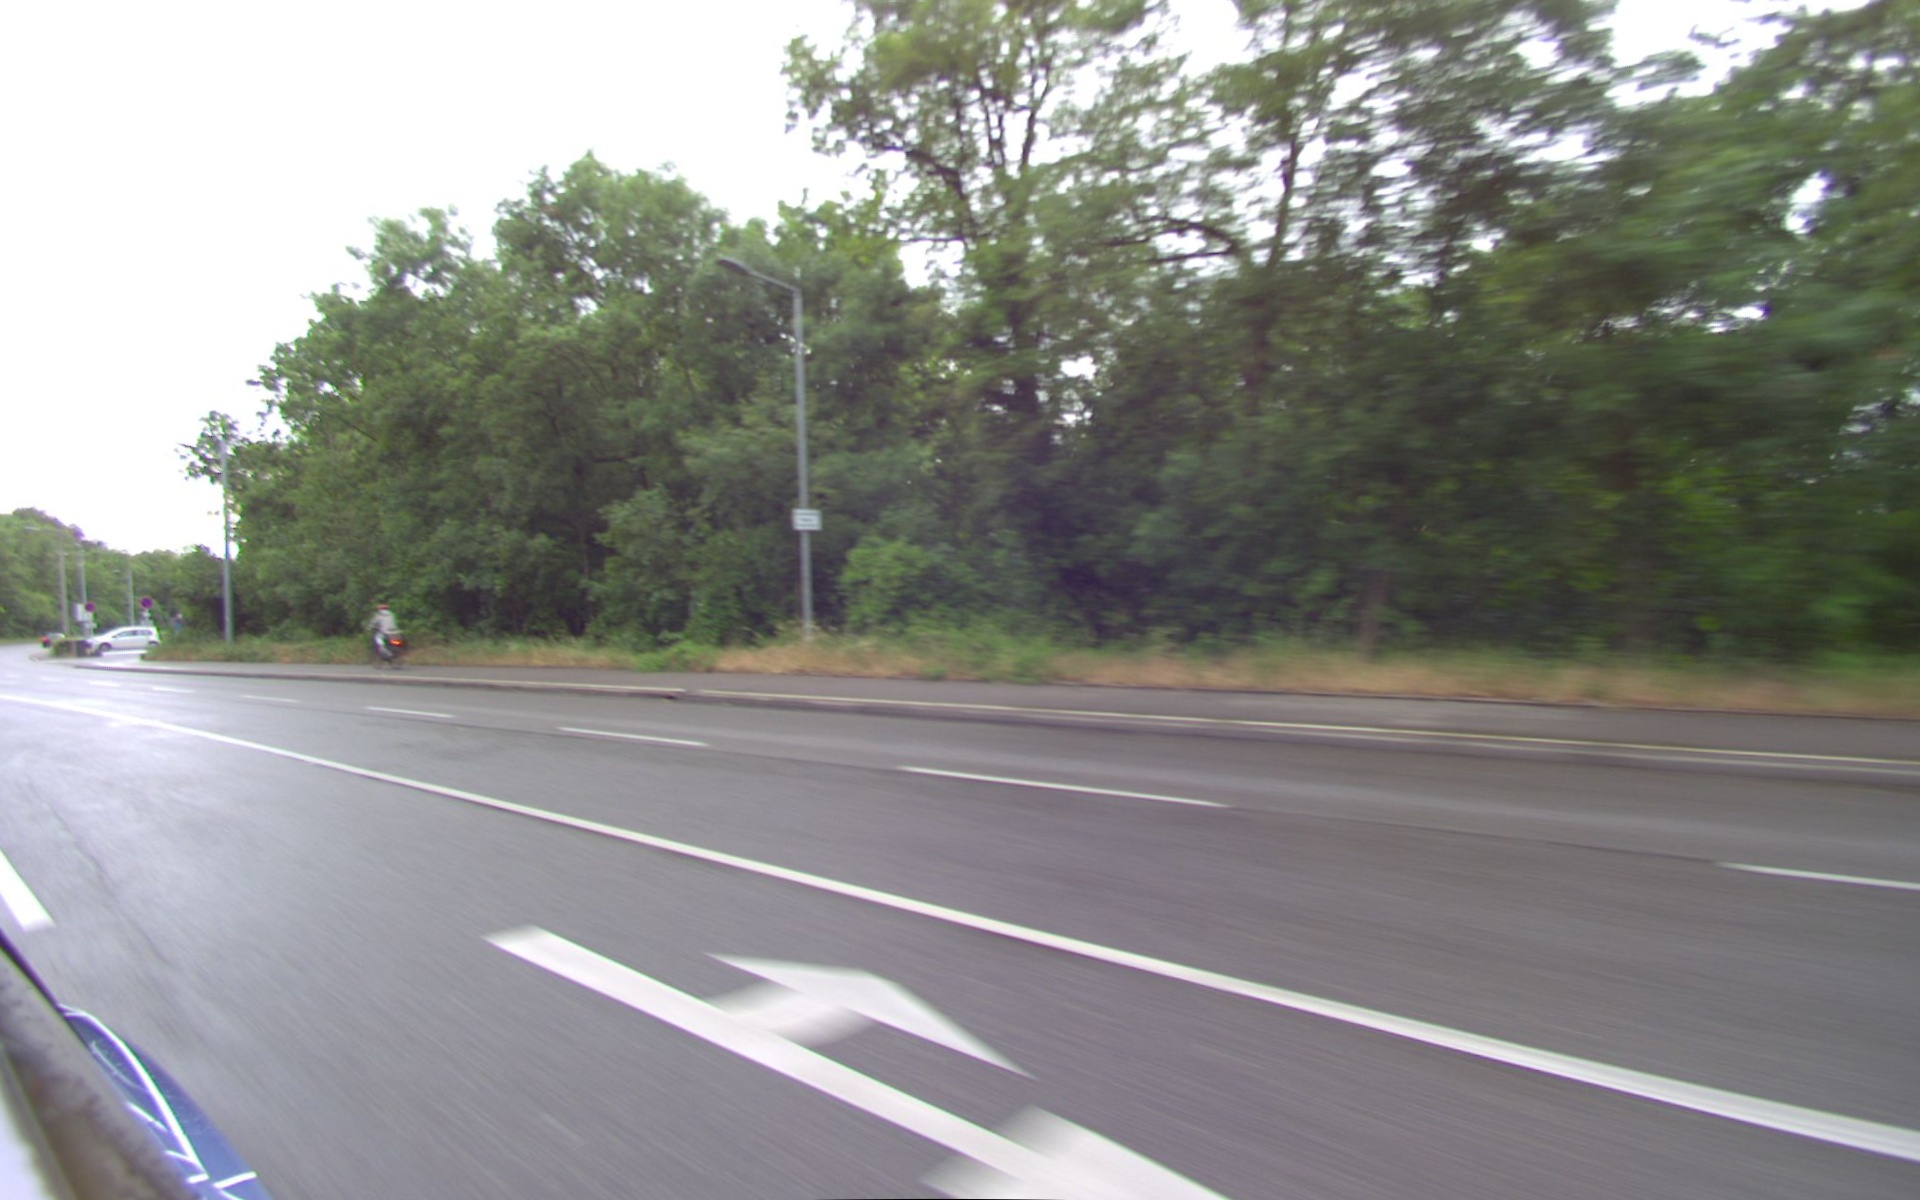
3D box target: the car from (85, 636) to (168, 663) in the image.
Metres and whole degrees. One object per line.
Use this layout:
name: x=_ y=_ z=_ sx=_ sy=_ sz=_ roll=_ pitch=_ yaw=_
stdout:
car: x=-57.155 y=3.357 z=69.430 sx=4.317 sy=1.613 sz=1.758 roll=-2 pitch=0 yaw=-42

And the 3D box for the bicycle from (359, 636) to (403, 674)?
bicycle: x=-16.112 y=1.531 z=28.135 sx=2.017 sy=1.011 sz=0.447 roll=-3 pitch=0 yaw=42

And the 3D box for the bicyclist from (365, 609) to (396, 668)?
bicyclist: x=-16.054 y=1.055 z=28.042 sx=0.700 sy=1.598 sz=0.572 roll=-2 pitch=-2 yaw=44

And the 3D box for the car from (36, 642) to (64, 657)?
car: x=-95.424 y=5.185 z=106.153 sx=1.828 sy=1.484 sz=3.921 roll=1 pitch=-3 yaw=-37

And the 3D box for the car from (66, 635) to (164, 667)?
car: x=-53.957 y=3.223 z=64.674 sx=4.686 sy=1.729 sz=1.896 roll=-2 pitch=0 yaw=-44
